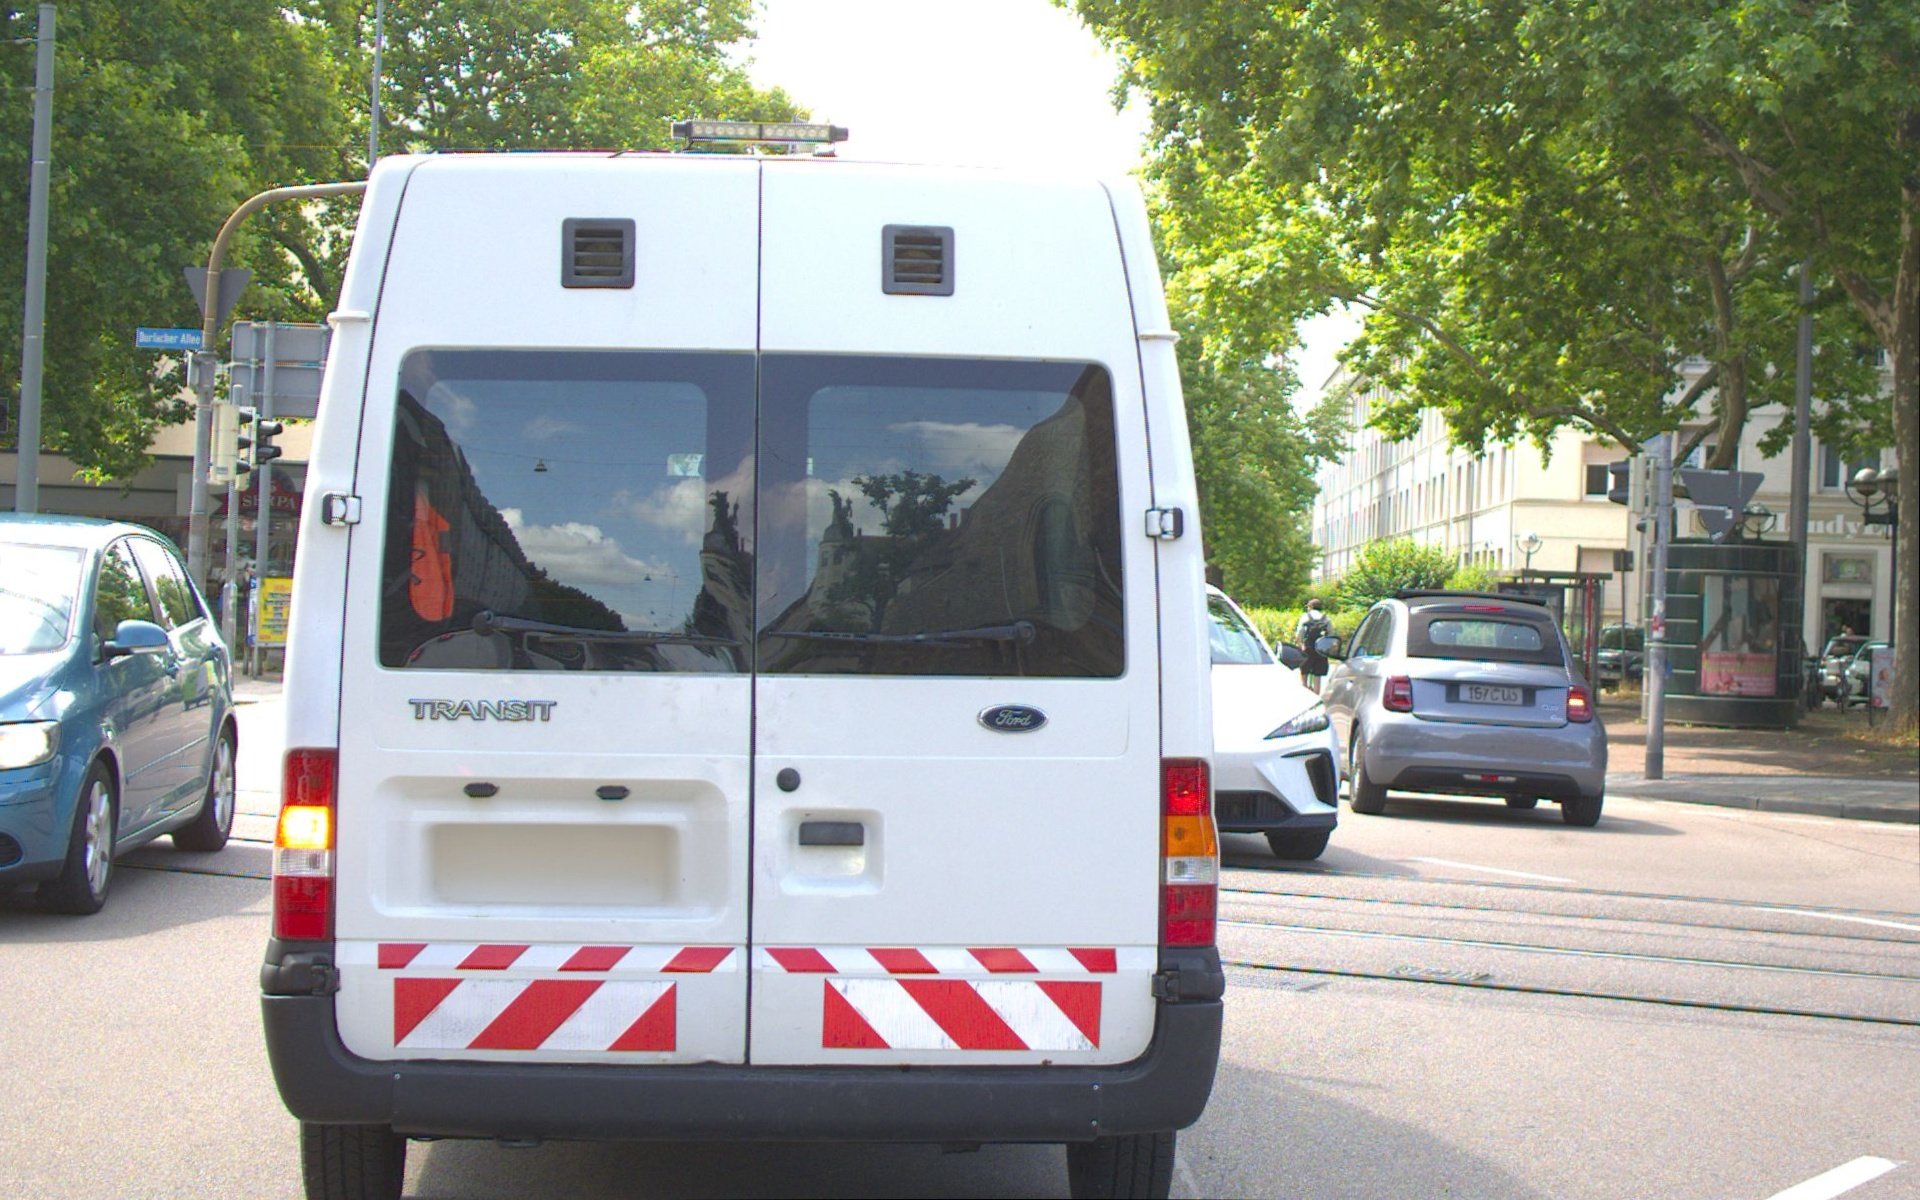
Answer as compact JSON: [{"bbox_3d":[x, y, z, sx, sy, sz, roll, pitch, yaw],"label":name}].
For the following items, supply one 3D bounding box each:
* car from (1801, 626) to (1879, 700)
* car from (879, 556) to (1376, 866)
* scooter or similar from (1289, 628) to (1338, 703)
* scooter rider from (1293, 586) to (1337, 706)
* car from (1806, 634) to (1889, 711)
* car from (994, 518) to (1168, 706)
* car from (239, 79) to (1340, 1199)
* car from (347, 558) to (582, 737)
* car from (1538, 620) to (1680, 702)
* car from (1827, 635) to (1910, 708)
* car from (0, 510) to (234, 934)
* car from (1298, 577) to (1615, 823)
[{"bbox_3d":[20.873,1.480,81.485,1.467,1.660,3.064,2,0,20],"label":"car"},{"bbox_3d":[0.807,0.539,19.317,1.814,1.501,4.132,2,0,-11],"label":"car"},{"bbox_3d":[5.387,0.998,52.441,0.549,1.088,1.292,2,0,-1],"label":"scooter or similar"},{"bbox_3d":[5.414,0.700,52.470,0.526,1.806,0.649,2,0,-1],"label":"scooter rider"},{"bbox_3d":[17.138,1.390,66.343,1.466,1.384,3.065,2,0,15],"label":"car"},{"bbox_3d":[1.772,0.146,52.603,2.119,2.632,6.328,2,0,-2],"label":"car"},{"bbox_3d":[-0.538,0.170,8.981,2.047,2.325,4.715,2,1,-5],"label":"car"},{"bbox_3d":[-4.234,0.363,29.843,1.713,1.428,3.819,1,1,-4],"label":"car"},{"bbox_3d":[13.706,1.284,72.429,2.030,1.595,4.533,2,0,22],"label":"car"},{"bbox_3d":[18.585,1.449,70.271,1.466,1.384,3.233,2,0,17],"label":"car"},{"bbox_3d":[-4.248,0.414,14.380,1.747,1.535,3.932,1,0,-3],"label":"car"},{"bbox_3d":[3.432,0.644,24.306,1.691,1.532,3.468,2,1,0],"label":"car"}]
